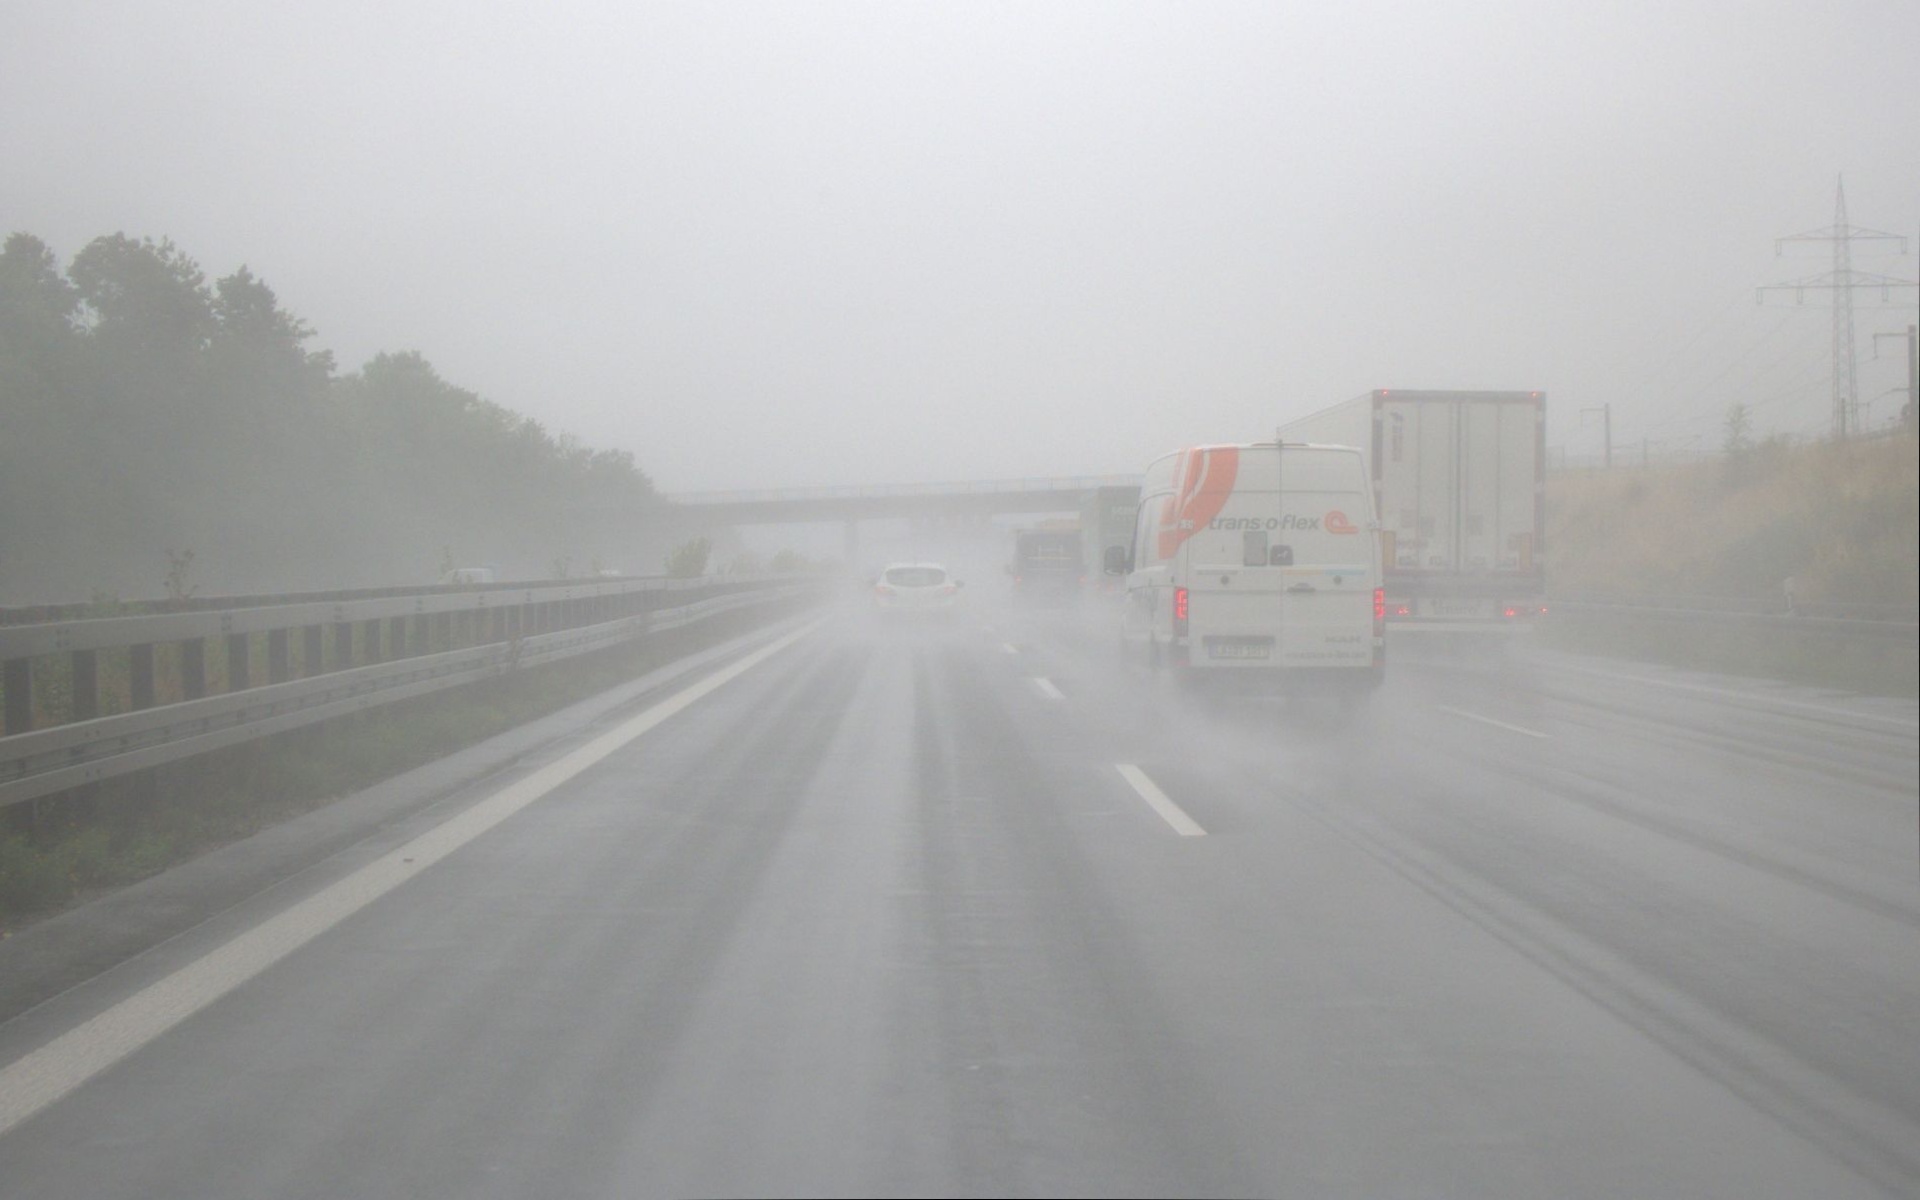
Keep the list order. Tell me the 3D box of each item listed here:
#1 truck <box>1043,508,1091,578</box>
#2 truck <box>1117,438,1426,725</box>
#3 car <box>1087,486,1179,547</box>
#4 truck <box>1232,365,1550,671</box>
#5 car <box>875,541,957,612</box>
[{"bbox_3d":[5.512,-2.962,177.614,2.109,3.504,5.248,1,2,-2],"label":"truck"},{"bbox_3d":[2.856,-0.248,32.930,2.419,2.484,5.560,1,2,0],"label":"truck"},{"bbox_3d":[5.846,-2.867,117.071,2.788,2.006,4.993,1,2,-1],"label":"car"},{"bbox_3d":[7.162,-1.352,60.123,3.039,4.572,16.352,1,1,-1],"label":"truck"},{"bbox_3d":[-0.891,-0.497,69.623,1.605,1.333,3.849,1,2,-1],"label":"car"}]
